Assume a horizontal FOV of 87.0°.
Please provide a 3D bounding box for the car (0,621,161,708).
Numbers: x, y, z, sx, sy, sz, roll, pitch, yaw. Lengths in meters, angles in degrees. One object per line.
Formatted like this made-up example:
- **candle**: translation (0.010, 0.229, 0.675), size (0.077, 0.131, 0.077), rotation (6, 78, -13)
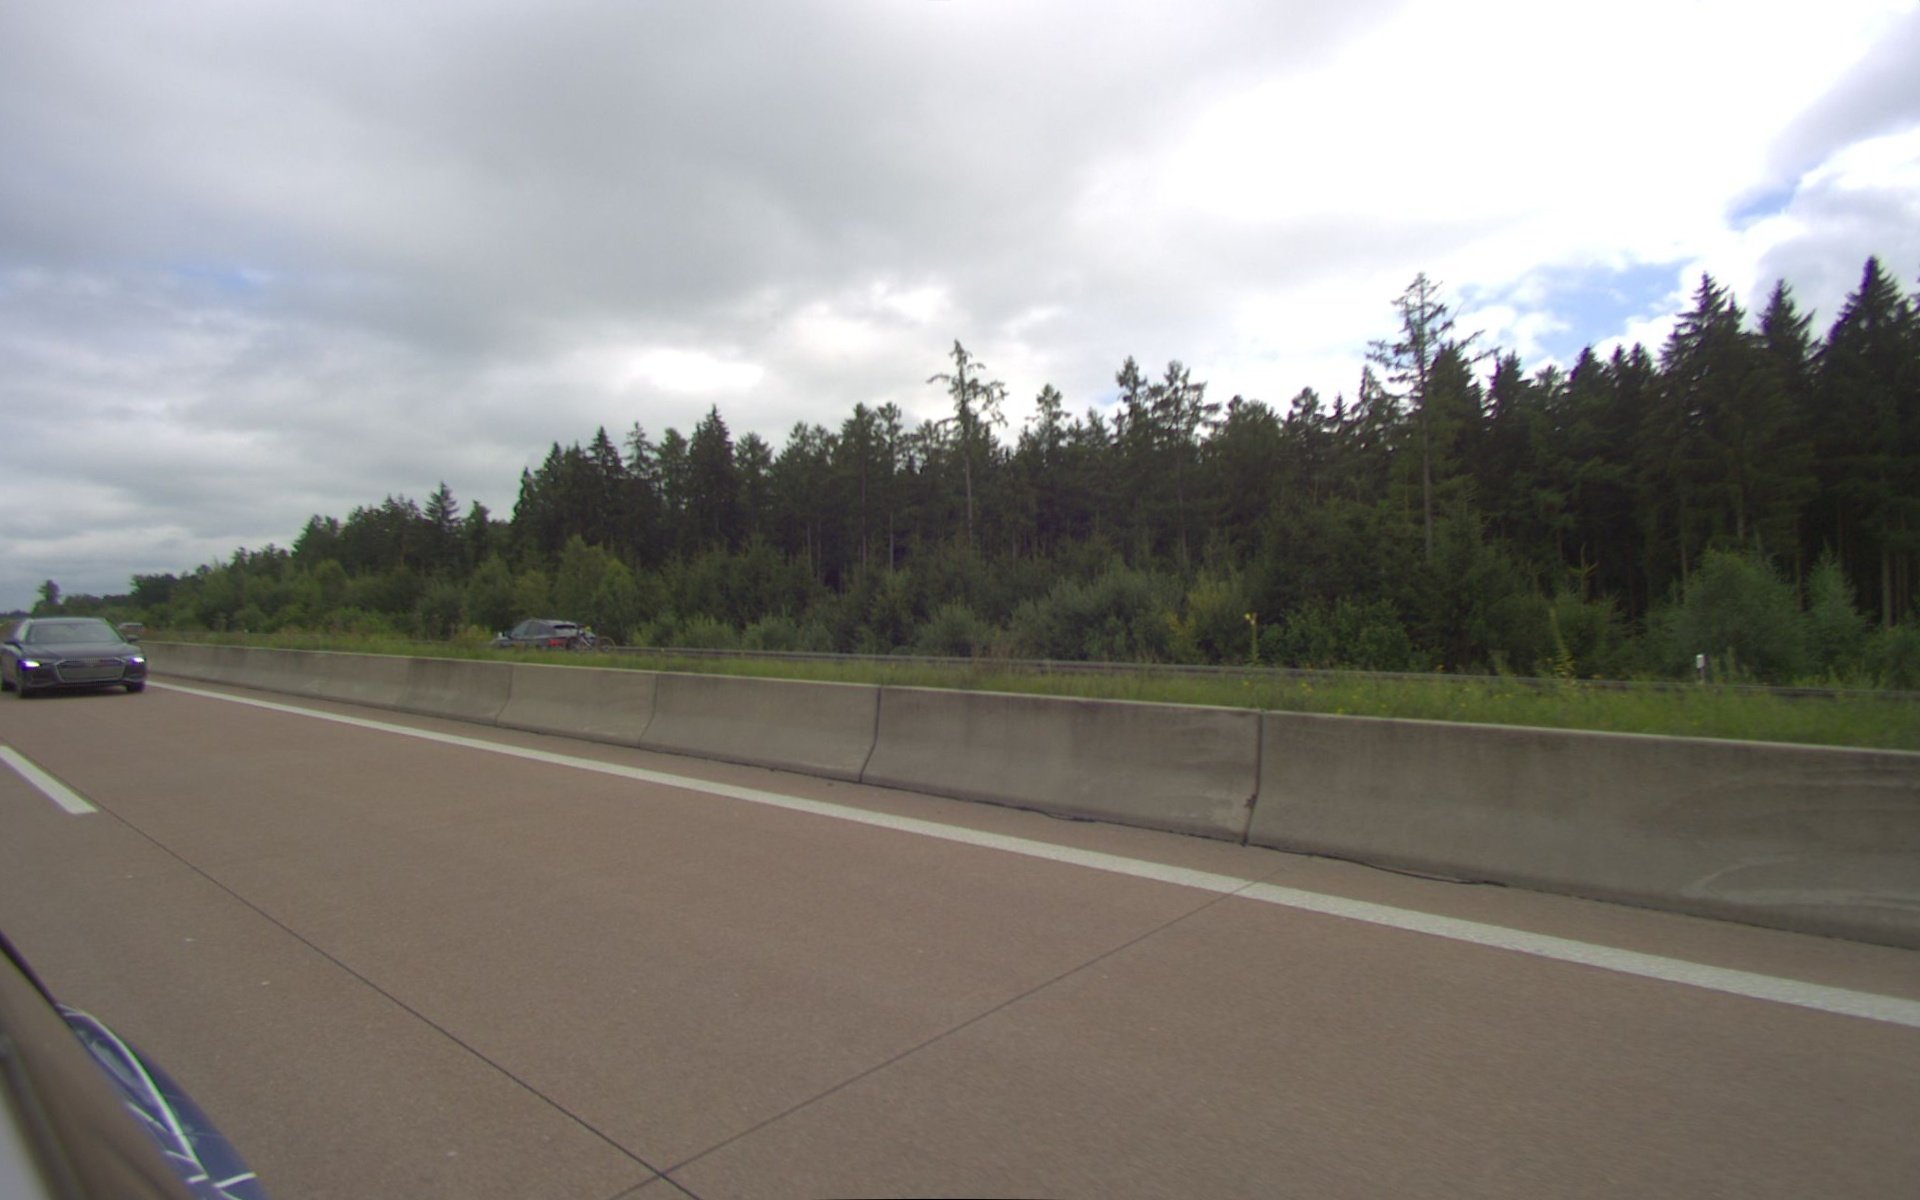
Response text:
- **car**: translation (-18.121, 1.211, 20.553), size (5.450, 1.503, 2.037), rotation (-1, -1, 41)

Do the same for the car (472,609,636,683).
- **car**: translation (-12.544, 1.354, 31.050), size (5.852, 2.045, 2.322), rotation (-1, -1, 41)

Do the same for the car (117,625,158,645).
- **car**: translation (-71.729, 3.060, 88.258), size (4.884, 1.694, 1.972), rotation (-1, -2, 41)
